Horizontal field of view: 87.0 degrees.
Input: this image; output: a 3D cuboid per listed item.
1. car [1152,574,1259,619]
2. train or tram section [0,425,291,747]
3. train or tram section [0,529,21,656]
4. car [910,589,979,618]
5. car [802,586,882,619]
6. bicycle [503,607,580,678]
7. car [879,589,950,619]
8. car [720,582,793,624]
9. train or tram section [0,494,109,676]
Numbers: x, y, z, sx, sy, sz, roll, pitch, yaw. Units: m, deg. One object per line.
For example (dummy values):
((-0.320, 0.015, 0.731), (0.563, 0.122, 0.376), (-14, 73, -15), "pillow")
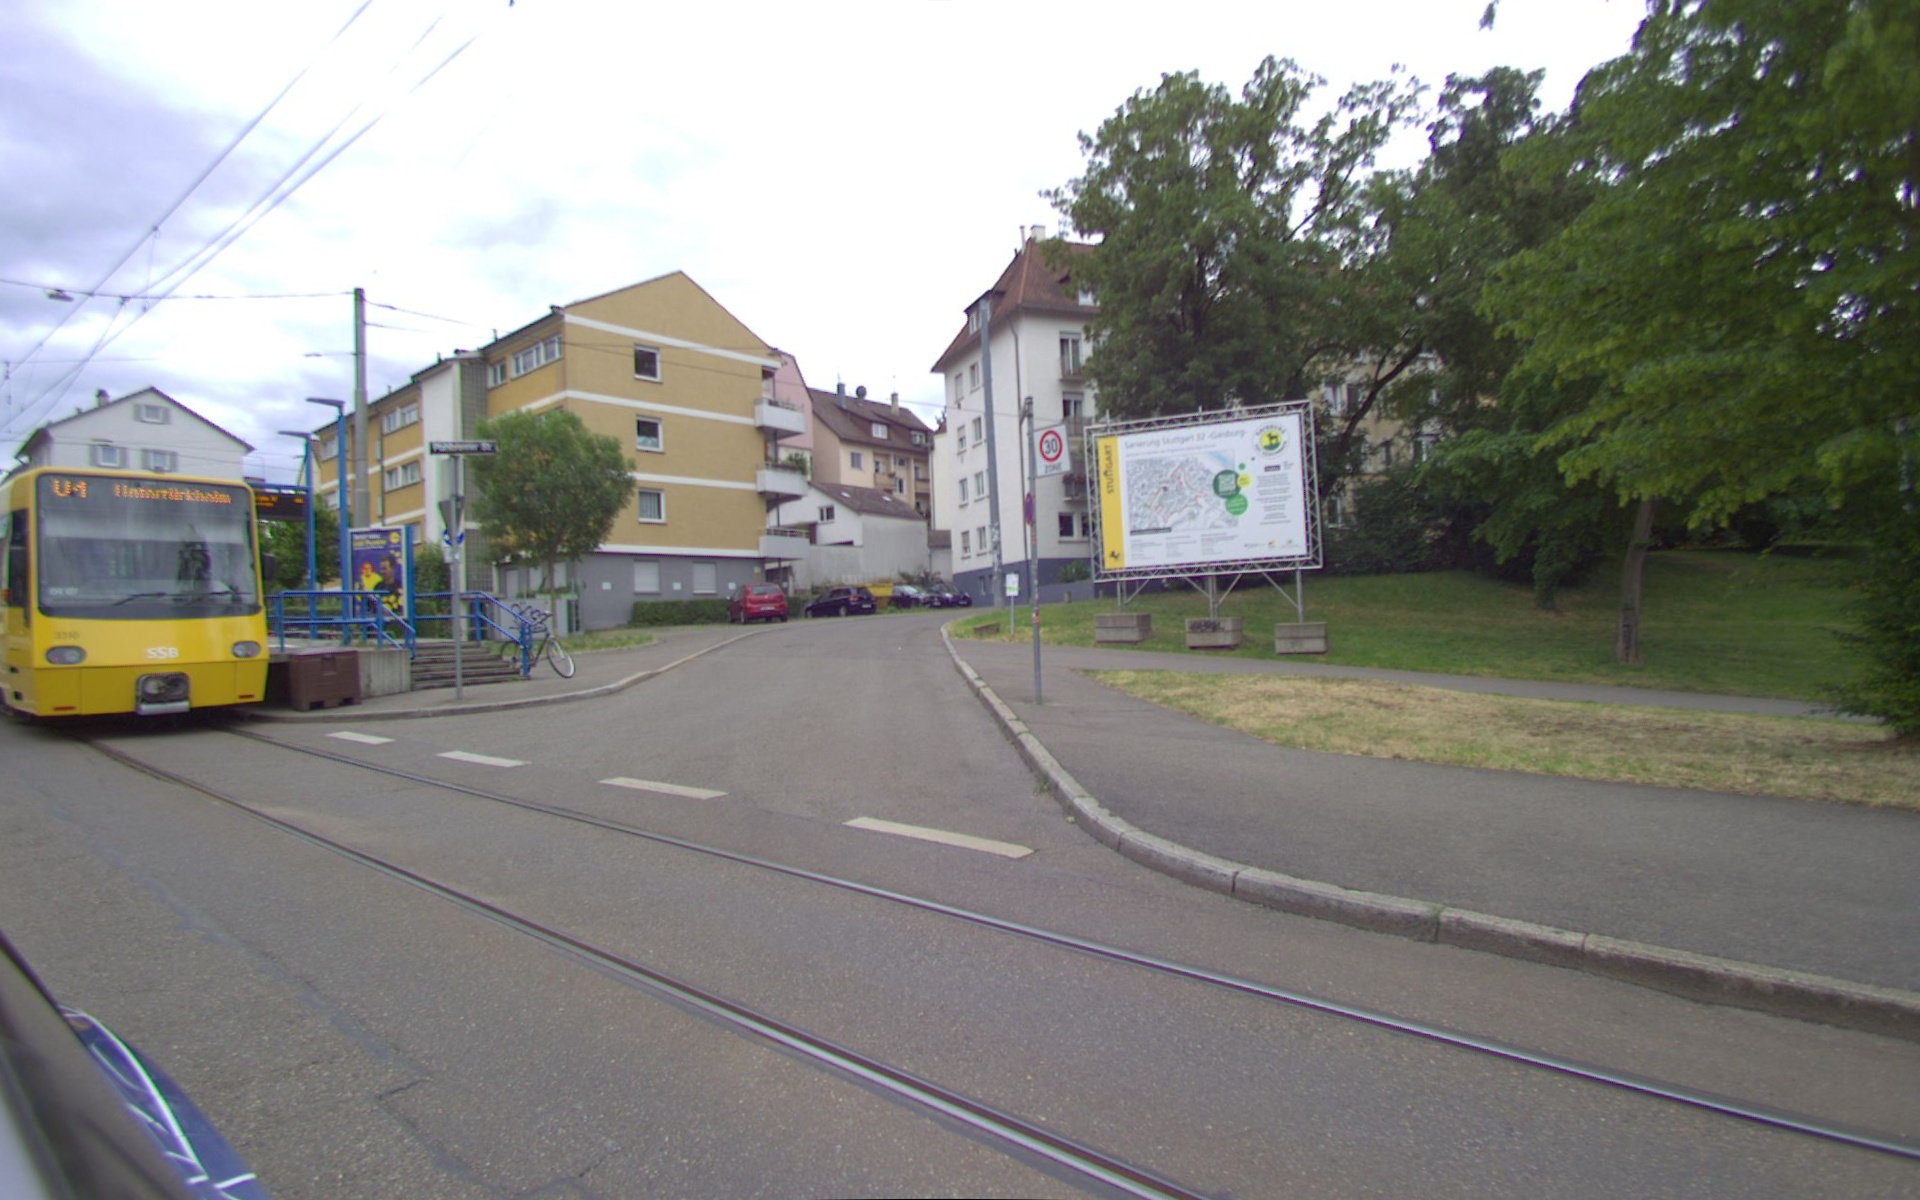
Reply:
((10.109, -0.159, 41.685), (3.930, 1.741, 1.853), (-1, 0, -24), "car")
((-14.521, -0.095, 16.572), (12.124, 3.664, 2.820), (-1, 0, 41), "train or tram section")
((-32.965, -0.131, 32.523), (12.122, 3.664, 2.723), (-1, 0, 41), "train or tram section")
((-0.854, 0.178, 53.919), (1.811, 1.475, 4.011), (-1, 0, -33), "car")
((-5.573, 0.109, 47.547), (1.813, 1.475, 4.007), (-1, 0, -40), "car")
((-7.454, 0.729, 18.002), (1.487, 1.190, 0.704), (0, 0, 42), "bicycle")
((-2.368, 0.203, 51.701), (1.811, 1.475, 4.011), (-1, 0, -33), "car")
((-7.708, 0.120, 38.035), (1.810, 1.475, 4.013), (-1, 0, -24), "car")
((-23.724, -0.228, 24.543), (12.122, 3.664, 2.795), (-1, 0, 41), "train or tram section")
